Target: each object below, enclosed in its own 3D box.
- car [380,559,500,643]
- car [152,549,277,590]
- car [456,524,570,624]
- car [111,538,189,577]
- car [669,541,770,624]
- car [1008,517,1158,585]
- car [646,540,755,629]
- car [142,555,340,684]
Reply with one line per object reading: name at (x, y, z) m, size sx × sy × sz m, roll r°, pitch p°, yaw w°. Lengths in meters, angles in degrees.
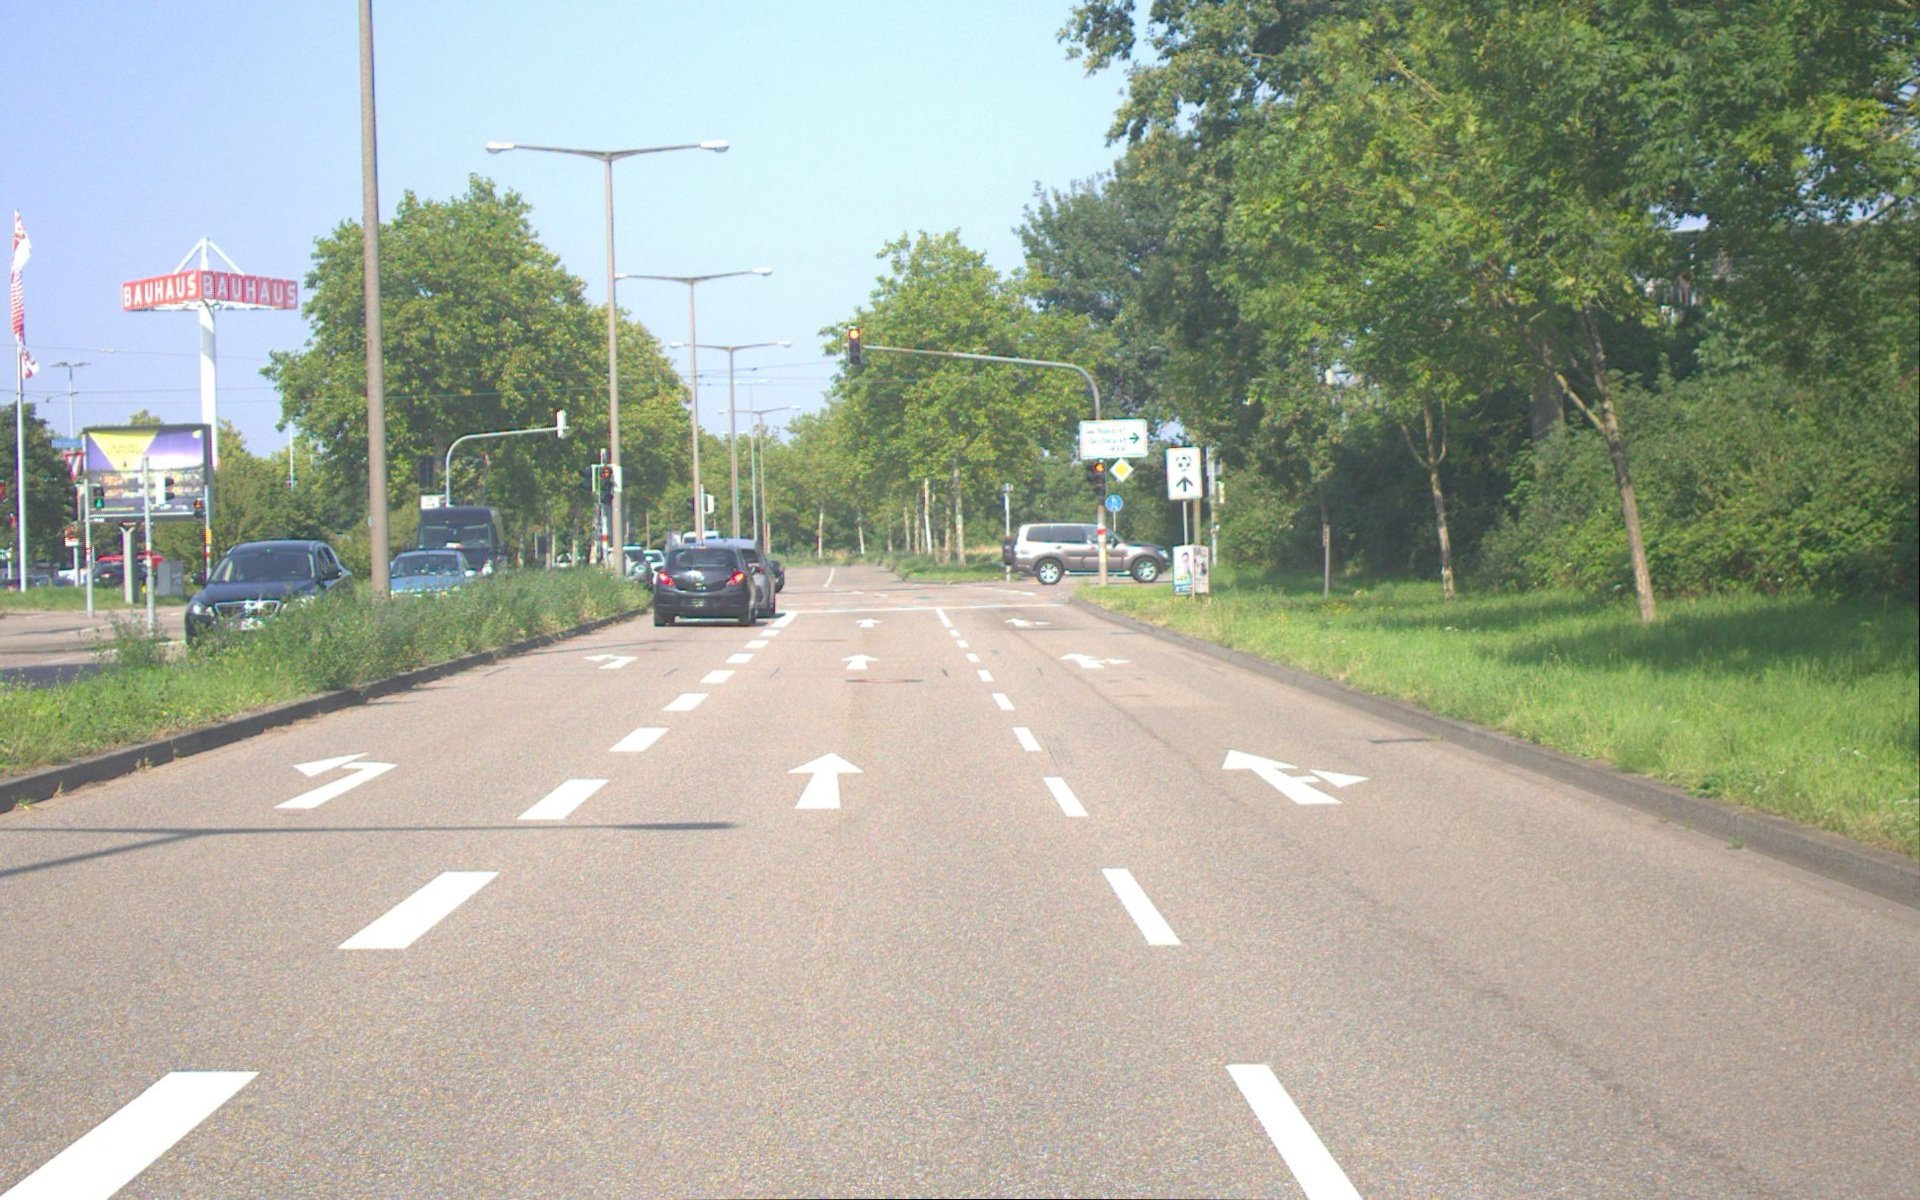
car at (-10.054, -0.002, 66.738) m, size 1.773 × 1.568 × 4.000 m, roll -1°, pitch 1°, yaw -1°
car at (-22.613, -0.924, 104.378) m, size 3.376 × 1.133 × 1.493 m, roll -2°, pitch 1°, yaw 7°
car at (-10.888, -0.650, 84.131) m, size 2.112 × 2.325 × 6.283 m, roll -1°, pitch 1°, yaw -1°
car at (-42.170, -2.223, 179.045) m, size 1.995 × 2.007 × 4.287 m, roll 0°, pitch 1°, yaw 19°
car at (-4.588, -0.357, 66.056) m, size 1.692 × 1.480 × 4.000 m, roll -2°, pitch 1°, yaw -1°
car at (3.552, -1.424, 99.765) m, size 4.266 × 1.829 × 1.913 m, roll -2°, pitch 1°, yaw 1°
car at (-4.599, -0.303, 61.368) m, size 1.692 × 1.480 × 4.000 m, roll -2°, pitch 1°, yaw -1°
car at (-9.951, 0.232, 47.906) m, size 1.993 × 1.700 × 4.505 m, roll -1°, pitch 1°, yaw -3°
